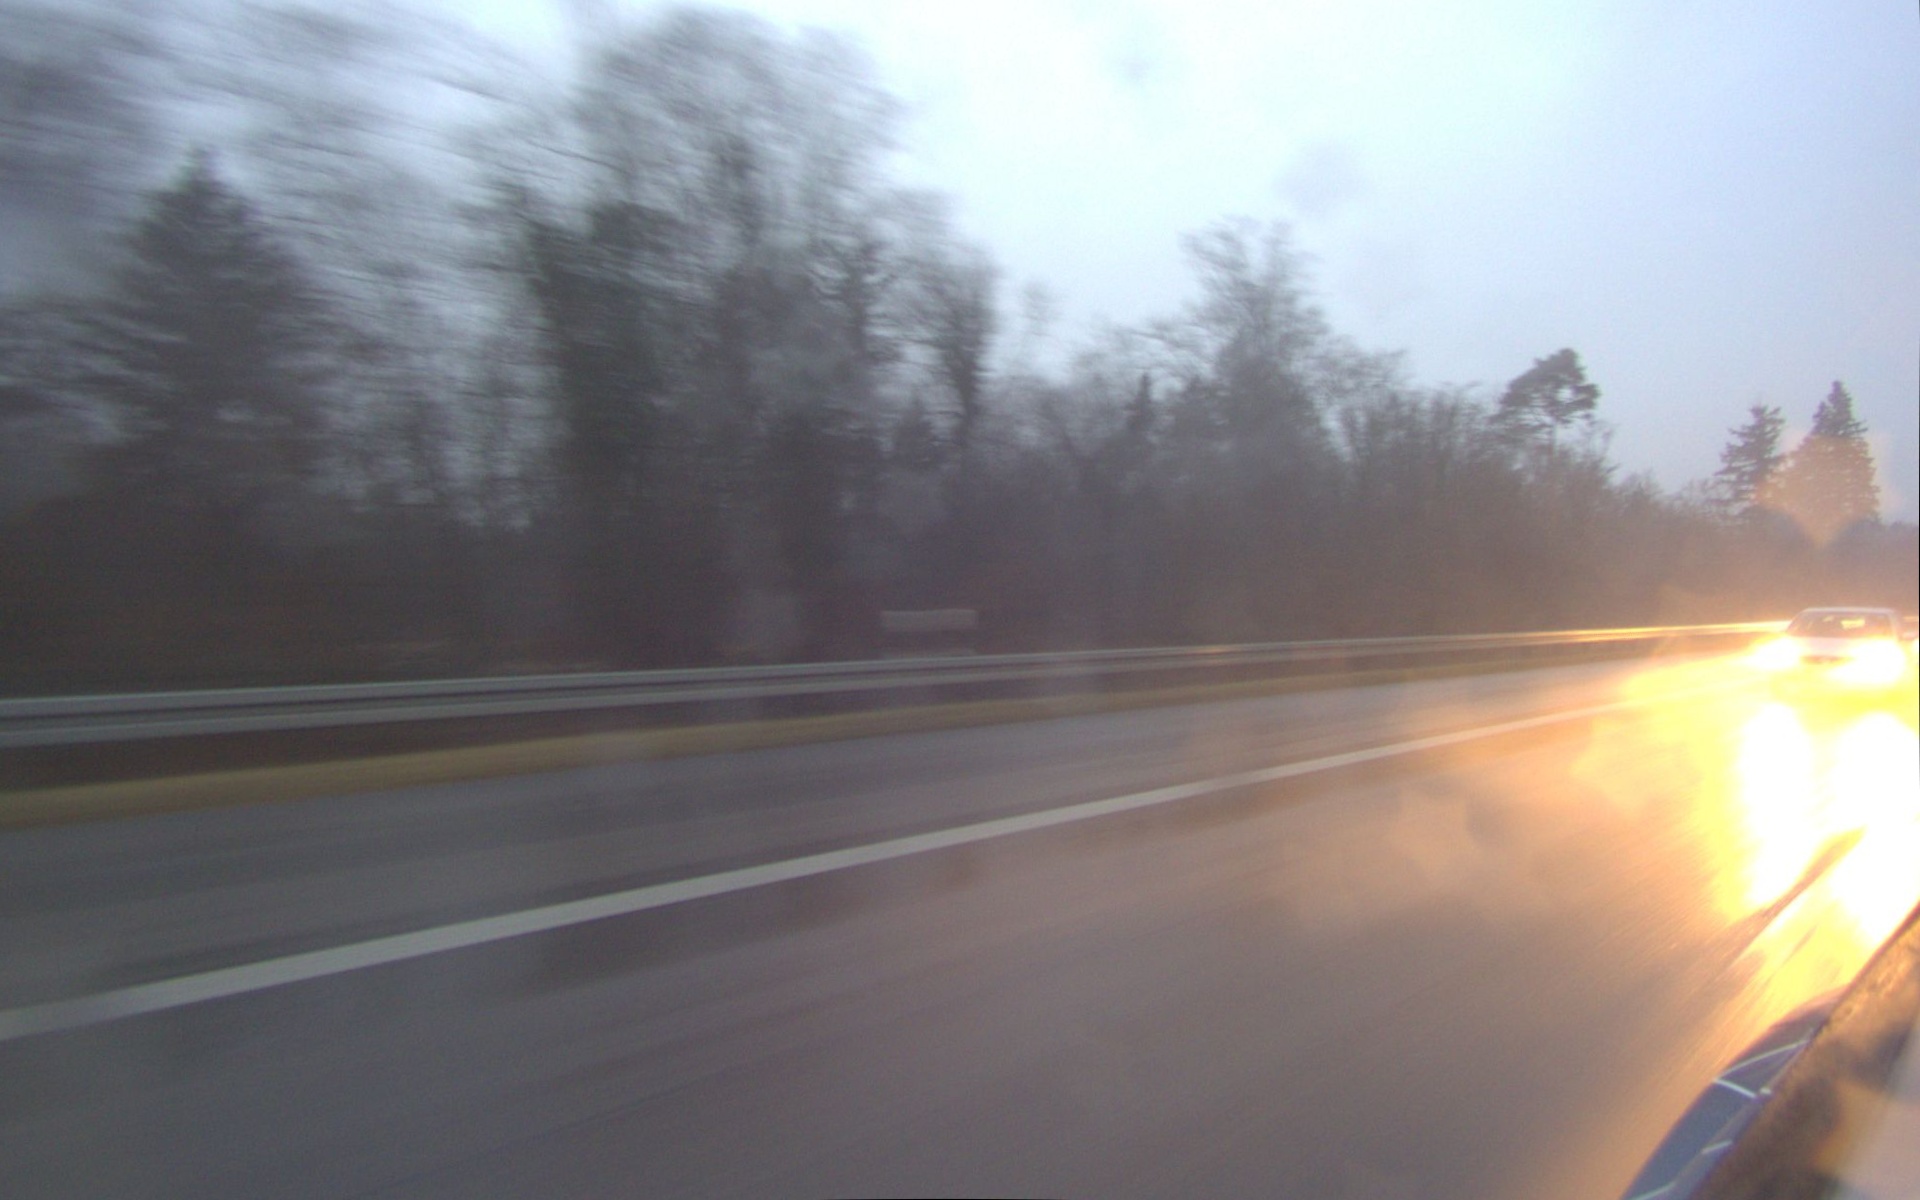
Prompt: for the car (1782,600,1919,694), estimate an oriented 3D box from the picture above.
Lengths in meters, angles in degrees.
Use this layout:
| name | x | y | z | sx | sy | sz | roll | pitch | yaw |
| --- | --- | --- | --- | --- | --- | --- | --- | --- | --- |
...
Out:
| name | x | y | z | sx | sy | sz | roll | pitch | yaw |
| --- | --- | --- | --- | --- | --- | --- | --- | --- | --- |
| car | 15.085 | 0.710 | 16.888 | 3.247 | 1.383 | 1.601 | 0 | 0 | -41 |
